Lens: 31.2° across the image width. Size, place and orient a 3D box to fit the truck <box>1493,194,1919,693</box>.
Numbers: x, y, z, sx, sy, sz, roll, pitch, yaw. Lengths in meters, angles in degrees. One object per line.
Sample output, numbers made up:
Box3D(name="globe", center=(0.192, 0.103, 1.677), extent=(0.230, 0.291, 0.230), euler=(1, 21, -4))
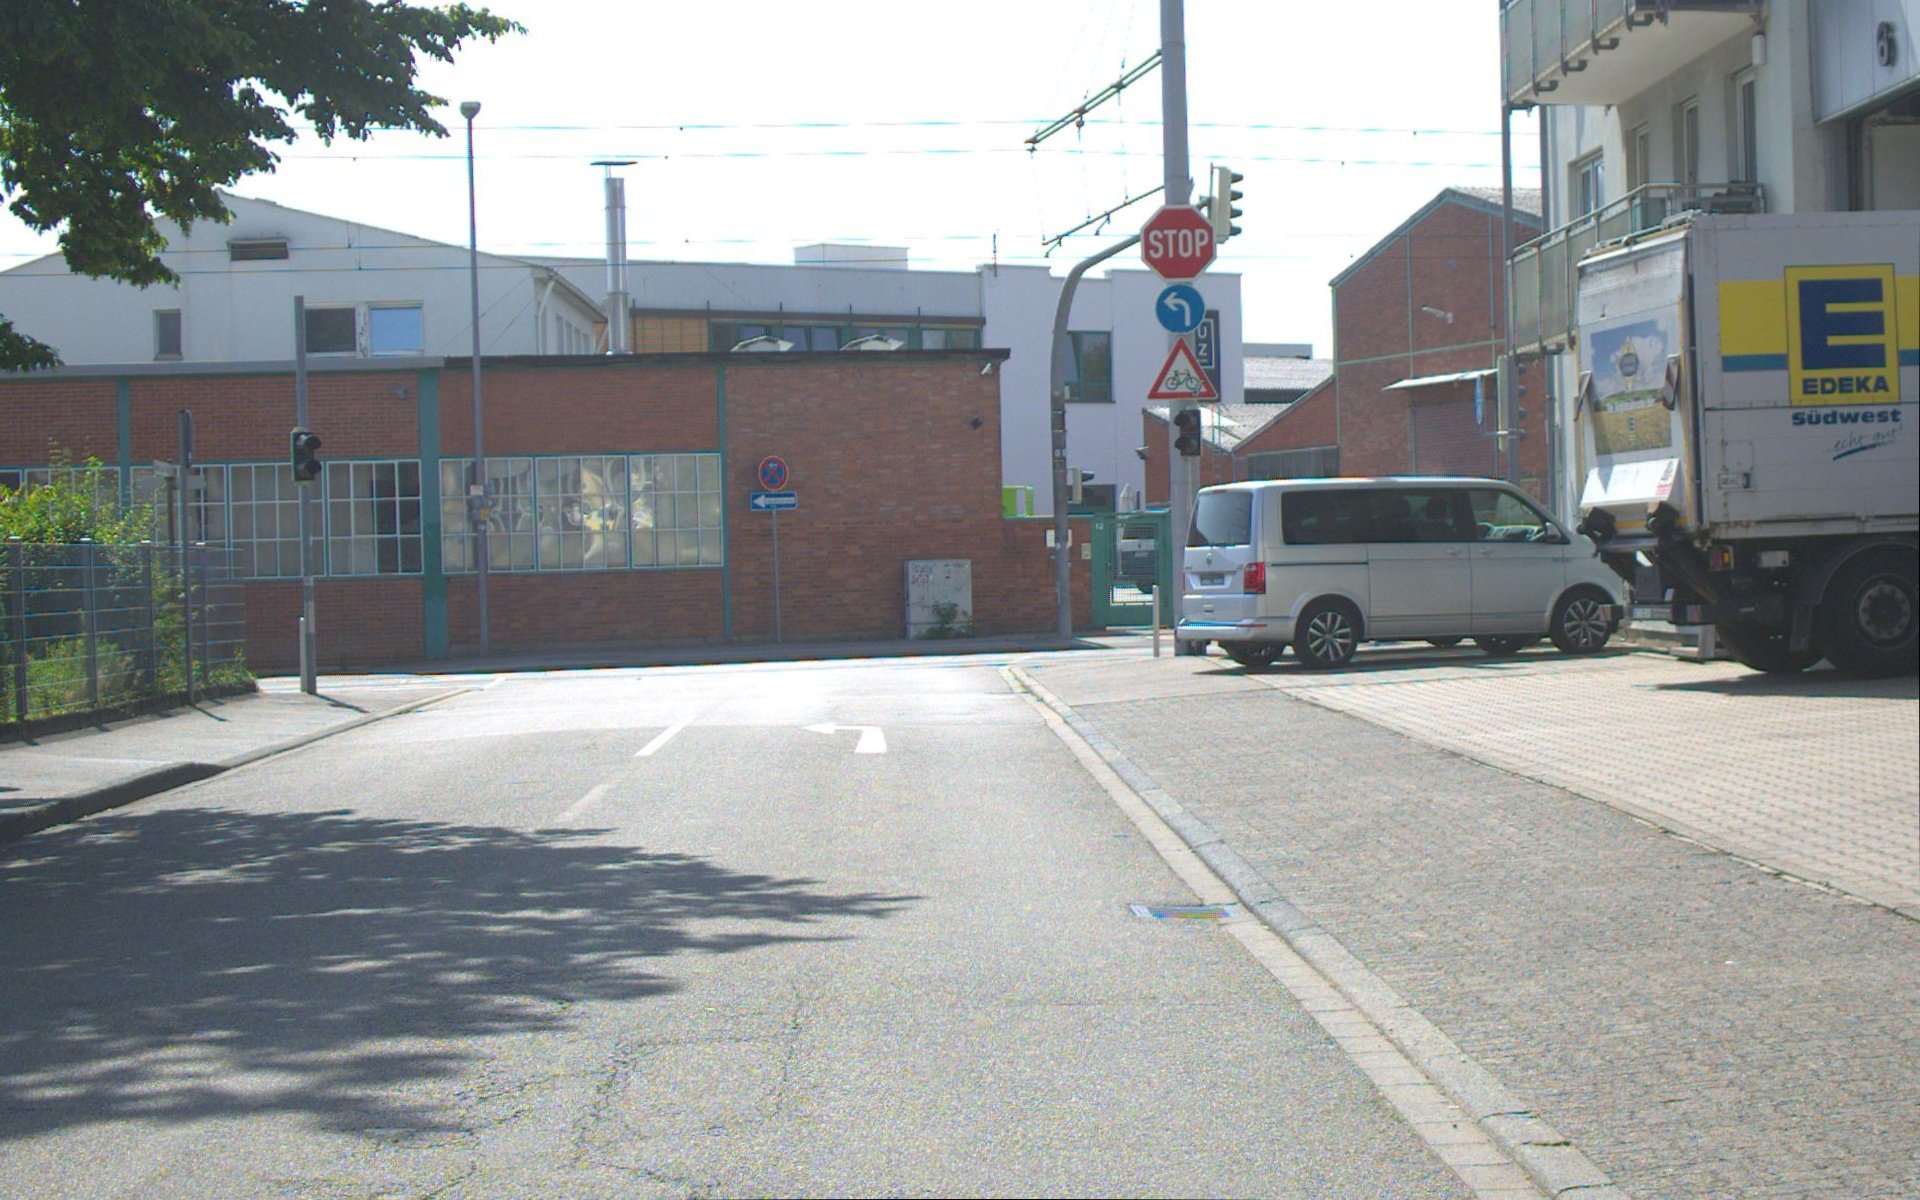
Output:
Box3D(name="truck", center=(8.407, -1.403, 27.884), extent=(7.357, 3.633, 2.768), euler=(-4, 1, -7))

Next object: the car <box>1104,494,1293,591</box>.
Box3D(name="car", center=(5.642, -1.362, 81.237), extent=(3.987, 2.182, 2.000), euler=(-2, 1, -33))

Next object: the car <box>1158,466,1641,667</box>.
Box3D(name="car", center=(4.627, -0.375, 36.247), extent=(4.653, 1.951, 1.917), euler=(-2, 1, -20))
